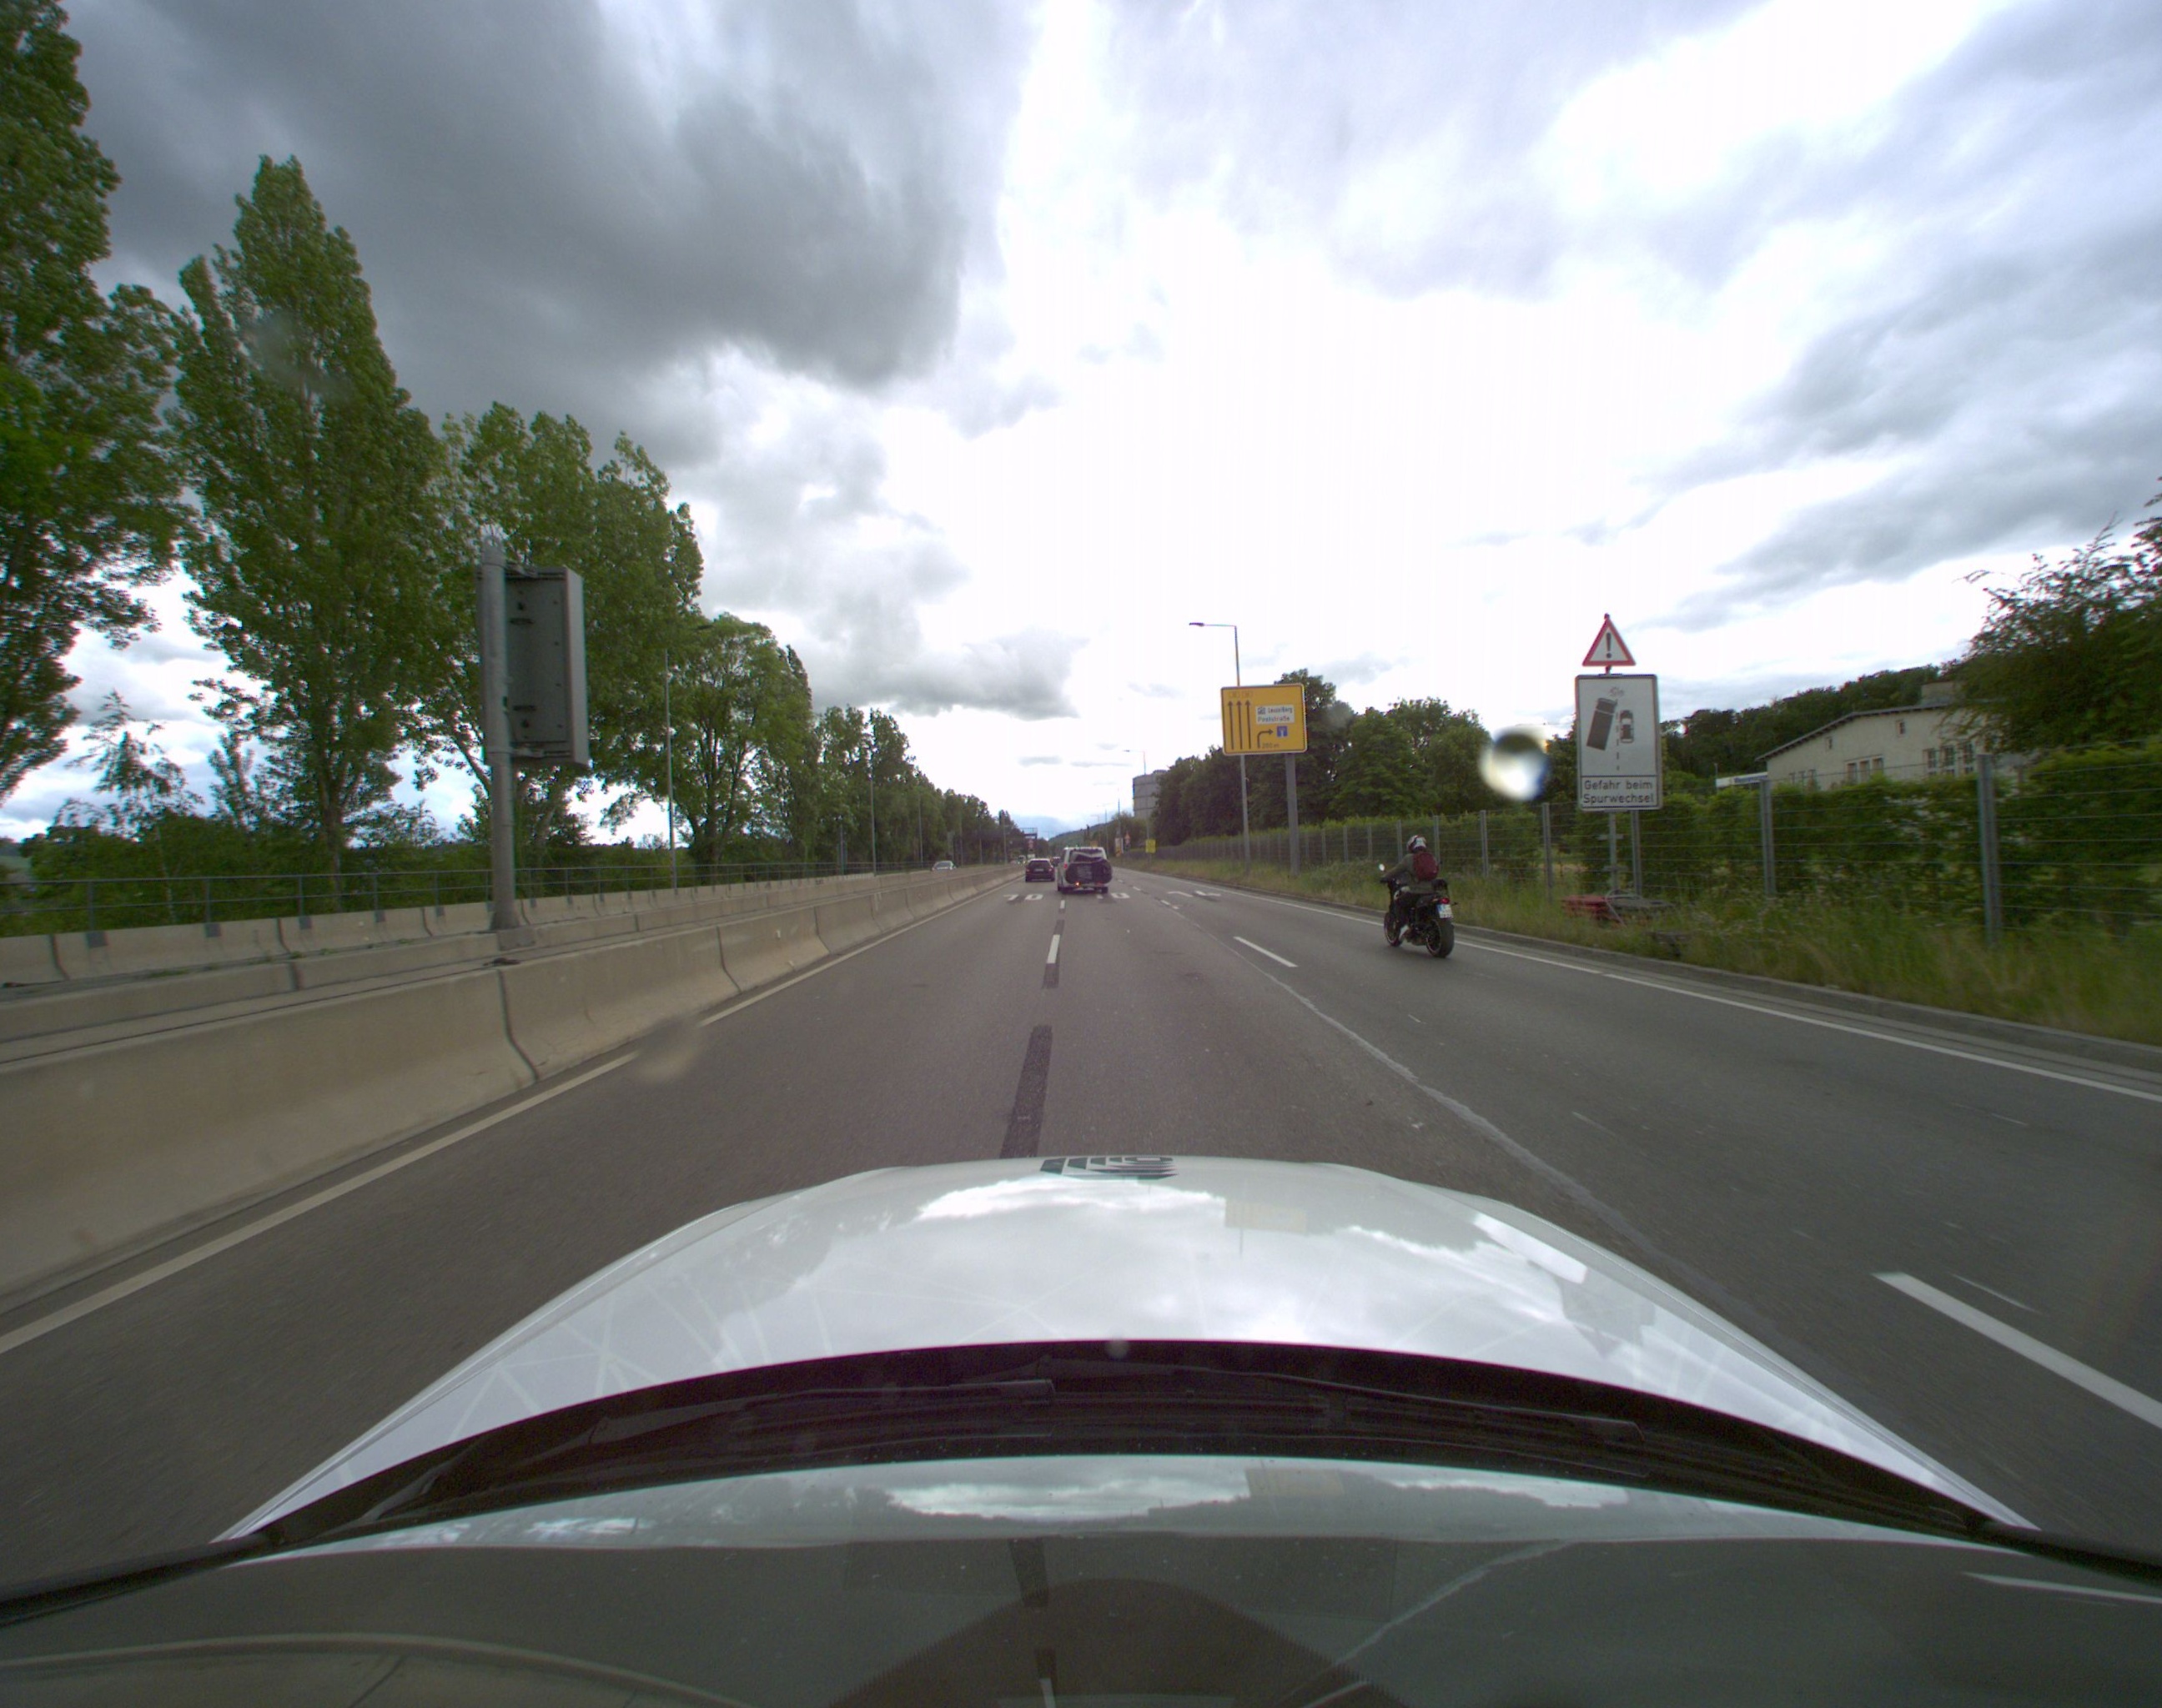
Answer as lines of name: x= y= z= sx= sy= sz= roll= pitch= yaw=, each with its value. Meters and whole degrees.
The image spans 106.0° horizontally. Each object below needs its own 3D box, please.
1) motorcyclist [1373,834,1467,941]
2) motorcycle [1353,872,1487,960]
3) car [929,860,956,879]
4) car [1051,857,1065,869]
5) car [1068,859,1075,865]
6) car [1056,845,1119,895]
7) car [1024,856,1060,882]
motorcyclist: x=4.925 y=0.469 z=11.896 sx=0.910 sy=1.477 sz=0.966 roll=-2 pitch=0 yaw=-3
motorcycle: x=4.932 y=0.849 z=12.104 sx=0.742 sy=1.083 sz=2.662 roll=-2 pitch=-1 yaw=-2
car: x=-11.117 y=1.237 z=65.424 sx=1.729 sy=1.374 sz=3.611 roll=-2 pitch=0 yaw=-4
car: x=-3.394 y=1.301 z=120.696 sx=1.988 sy=1.673 sz=3.998 roll=-1 pitch=-1 yaw=-1
car: x=-2.680 y=2.165 z=234.075 sx=1.989 sy=1.654 sz=3.995 roll=-1 pitch=0 yaw=-3
car: x=0.148 y=0.610 z=33.526 sx=1.990 sy=1.859 sz=5.629 roll=0 pitch=0 yaw=-6
car: x=-2.341 y=0.872 z=50.292 sx=1.808 sy=1.434 sz=4.067 roll=-3 pitch=0 yaw=2
